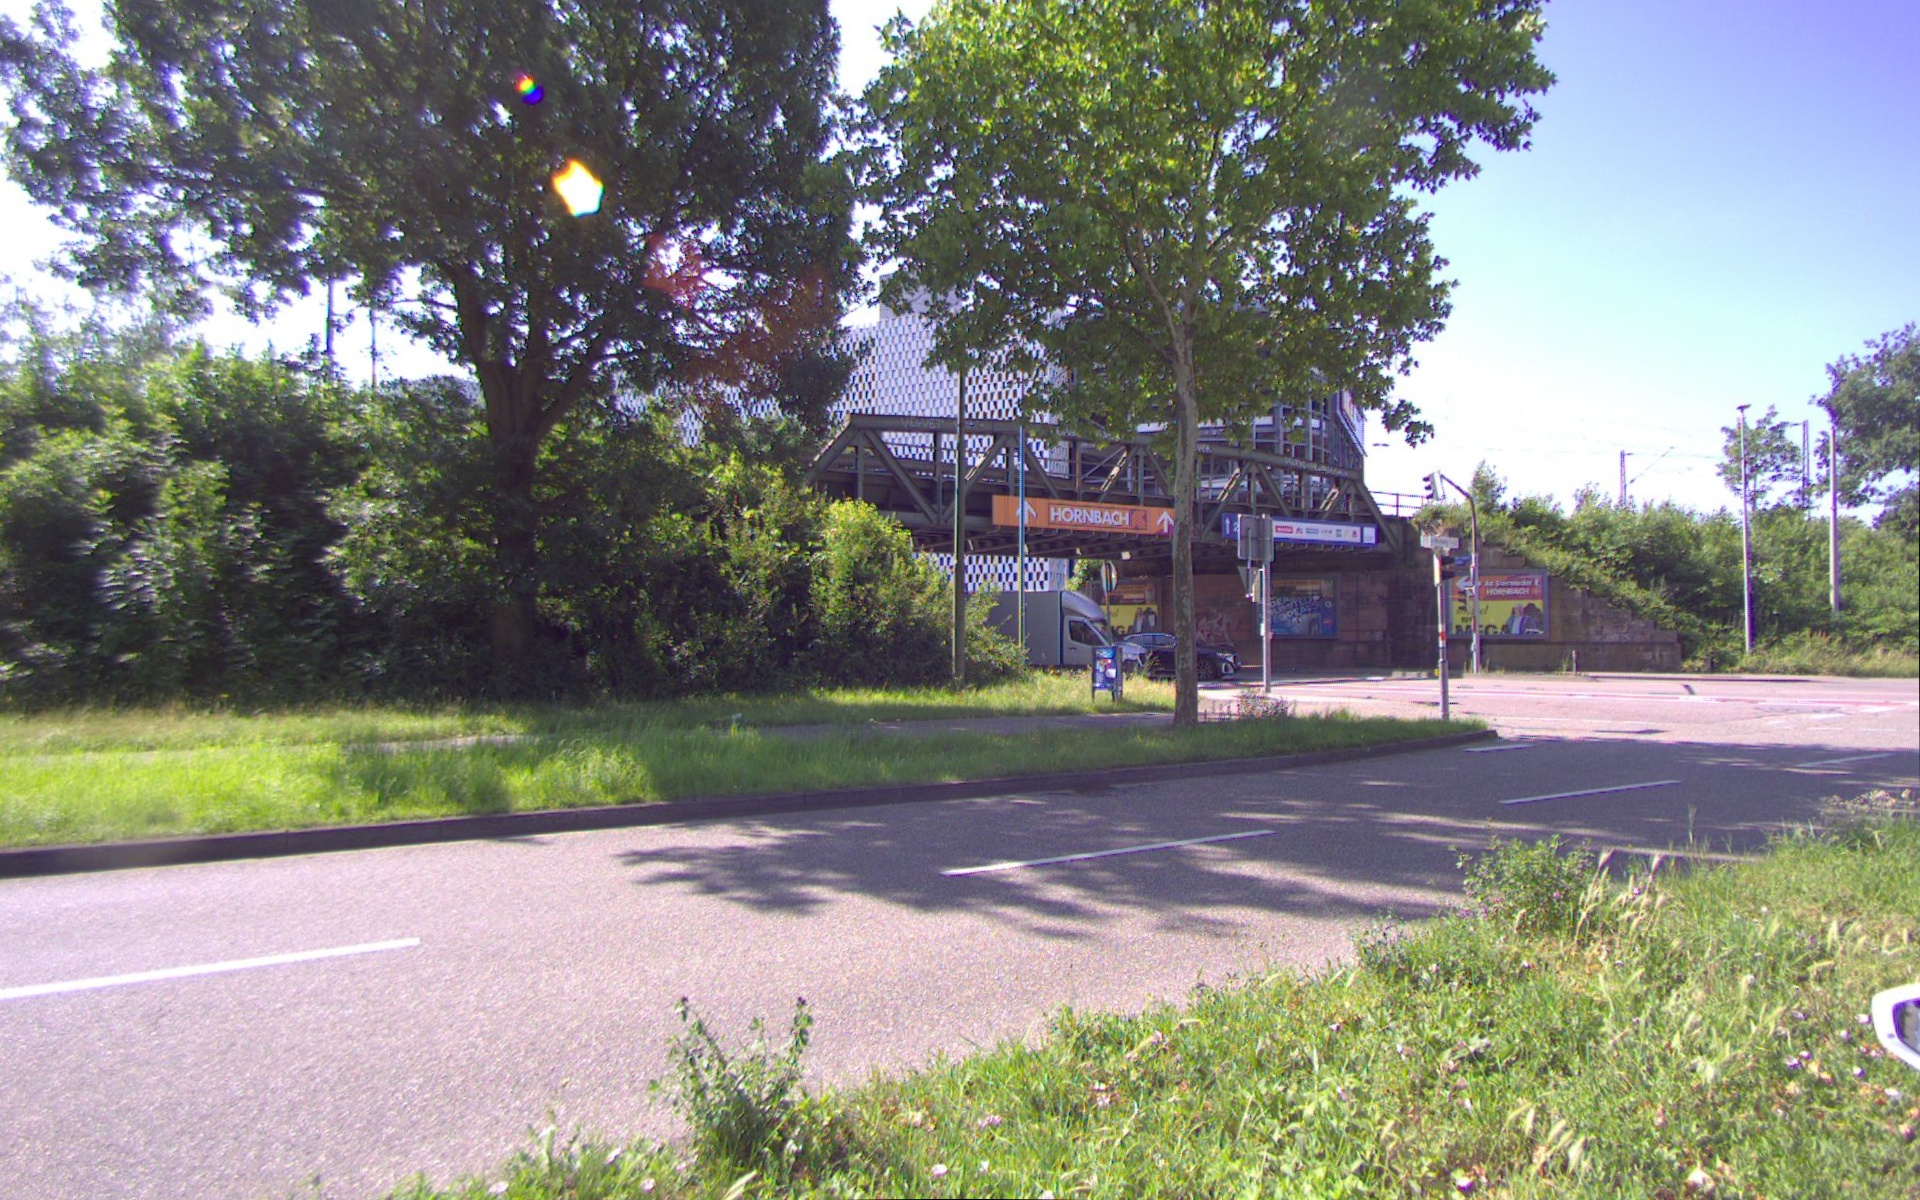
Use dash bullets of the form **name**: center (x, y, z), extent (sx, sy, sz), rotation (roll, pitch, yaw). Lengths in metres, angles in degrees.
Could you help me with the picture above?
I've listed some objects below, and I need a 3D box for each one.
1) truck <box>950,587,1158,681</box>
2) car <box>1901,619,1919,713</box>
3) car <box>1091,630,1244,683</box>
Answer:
- **truck**: center (2.961, 1.014, 32.183), extent (6.286, 2.748, 1.998), rotation (1, -1, 26)
- **car**: center (22.131, 1.378, 21.177), extent (4.929, 1.915, 1.985), rotation (2, -4, -30)
- **car**: center (7.153, 1.897, 34.728), extent (4.957, 1.617, 1.526), rotation (1, -1, 24)
